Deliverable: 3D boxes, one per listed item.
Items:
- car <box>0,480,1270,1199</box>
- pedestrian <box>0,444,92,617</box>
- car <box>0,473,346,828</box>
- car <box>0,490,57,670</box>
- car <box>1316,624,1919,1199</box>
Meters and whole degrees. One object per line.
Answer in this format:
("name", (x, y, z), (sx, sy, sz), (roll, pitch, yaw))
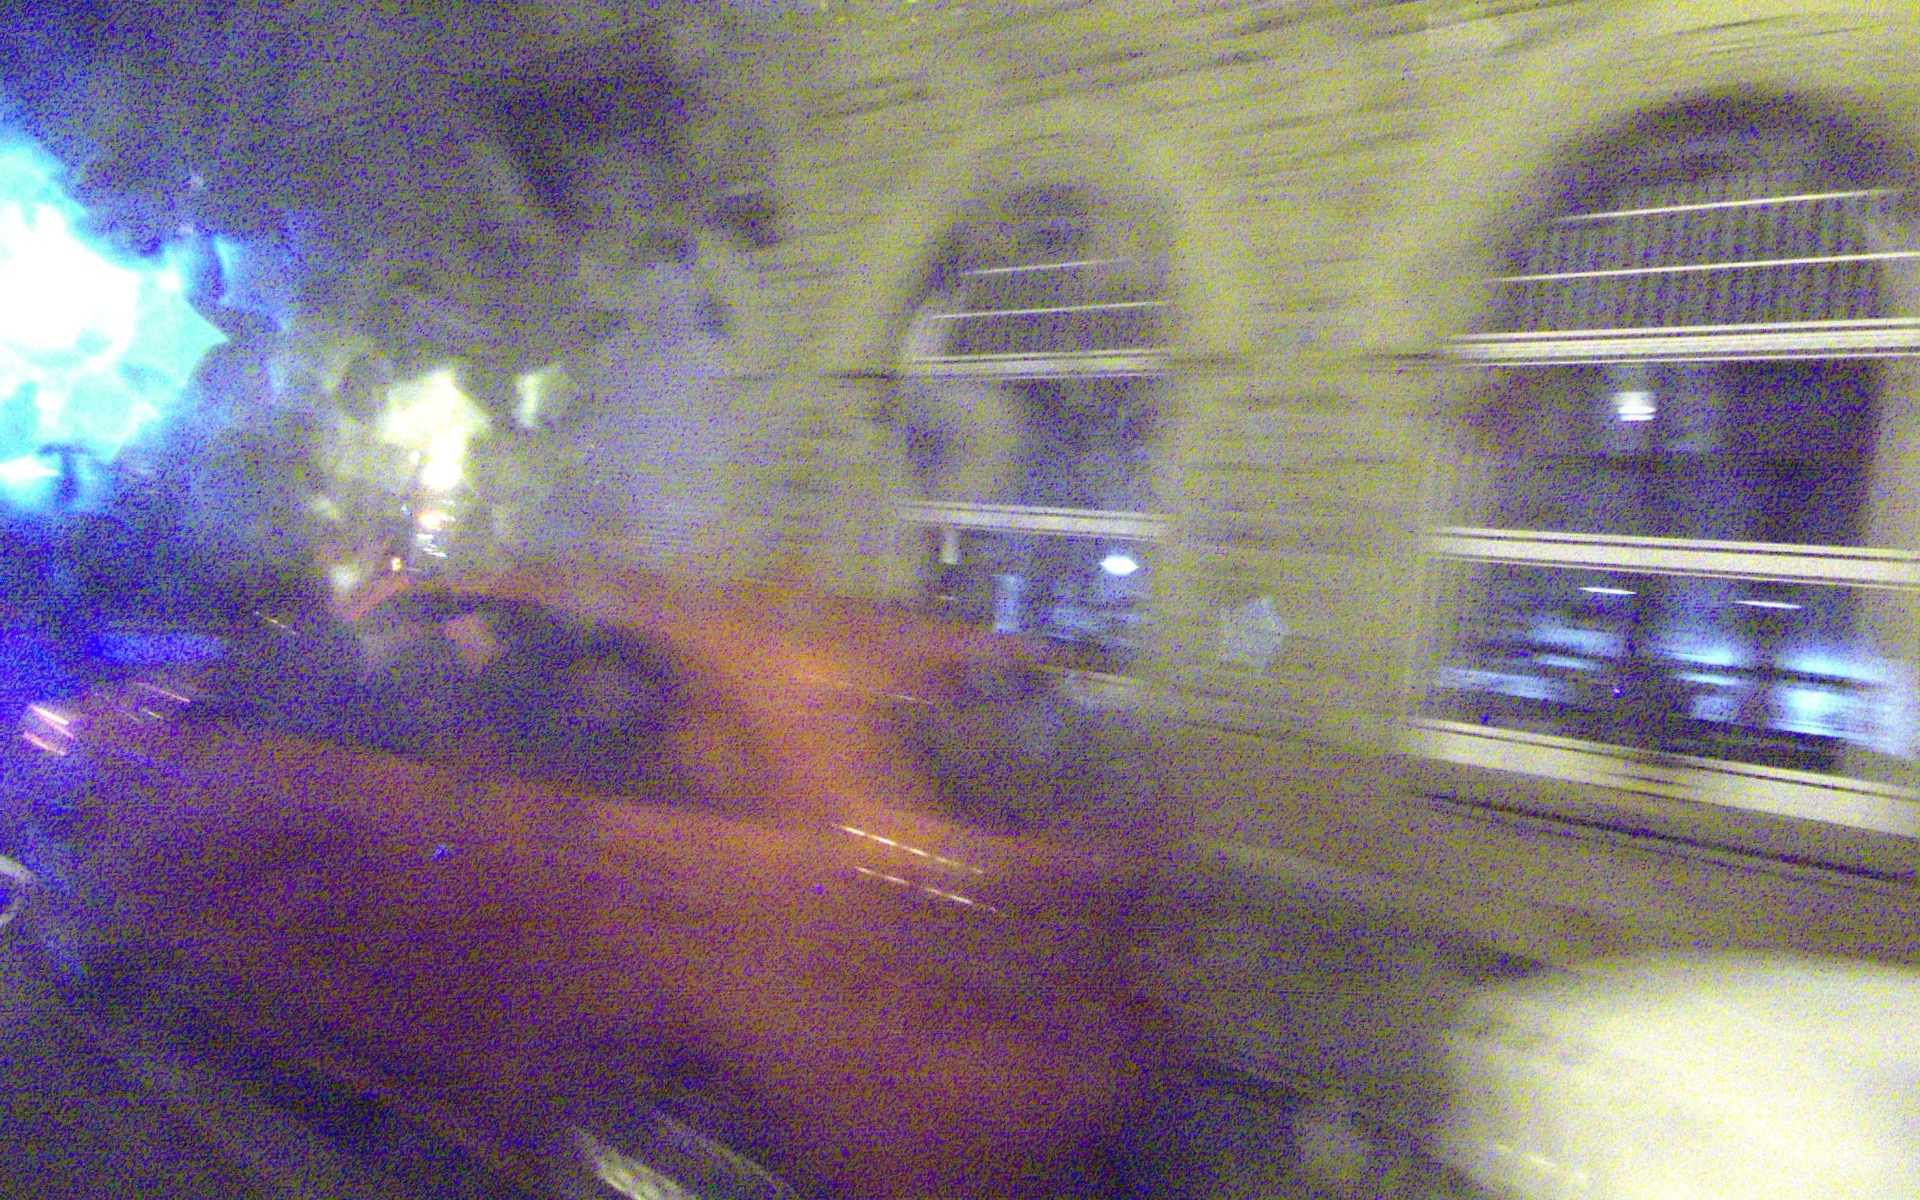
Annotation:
("car", (-1.245, 0.599, 3.072), (3.823, 1.517, 1.693), (6, 0, 28))
("pedestrian", (-10.477, -0.792, 11.244), (1.065, 1.812, 0.862), (8, 3, 35))
("car", (-5.453, 0.077, 5.703), (3.826, 1.517, 1.692), (6, 0, 31))
("car", (-9.632, -0.390, 8.433), (3.933, 1.429, 1.920), (7, 0, 31))
("car", (2.780, 1.044, 0.957), (4.343, 1.482, 1.996), (6, 0, 31))
